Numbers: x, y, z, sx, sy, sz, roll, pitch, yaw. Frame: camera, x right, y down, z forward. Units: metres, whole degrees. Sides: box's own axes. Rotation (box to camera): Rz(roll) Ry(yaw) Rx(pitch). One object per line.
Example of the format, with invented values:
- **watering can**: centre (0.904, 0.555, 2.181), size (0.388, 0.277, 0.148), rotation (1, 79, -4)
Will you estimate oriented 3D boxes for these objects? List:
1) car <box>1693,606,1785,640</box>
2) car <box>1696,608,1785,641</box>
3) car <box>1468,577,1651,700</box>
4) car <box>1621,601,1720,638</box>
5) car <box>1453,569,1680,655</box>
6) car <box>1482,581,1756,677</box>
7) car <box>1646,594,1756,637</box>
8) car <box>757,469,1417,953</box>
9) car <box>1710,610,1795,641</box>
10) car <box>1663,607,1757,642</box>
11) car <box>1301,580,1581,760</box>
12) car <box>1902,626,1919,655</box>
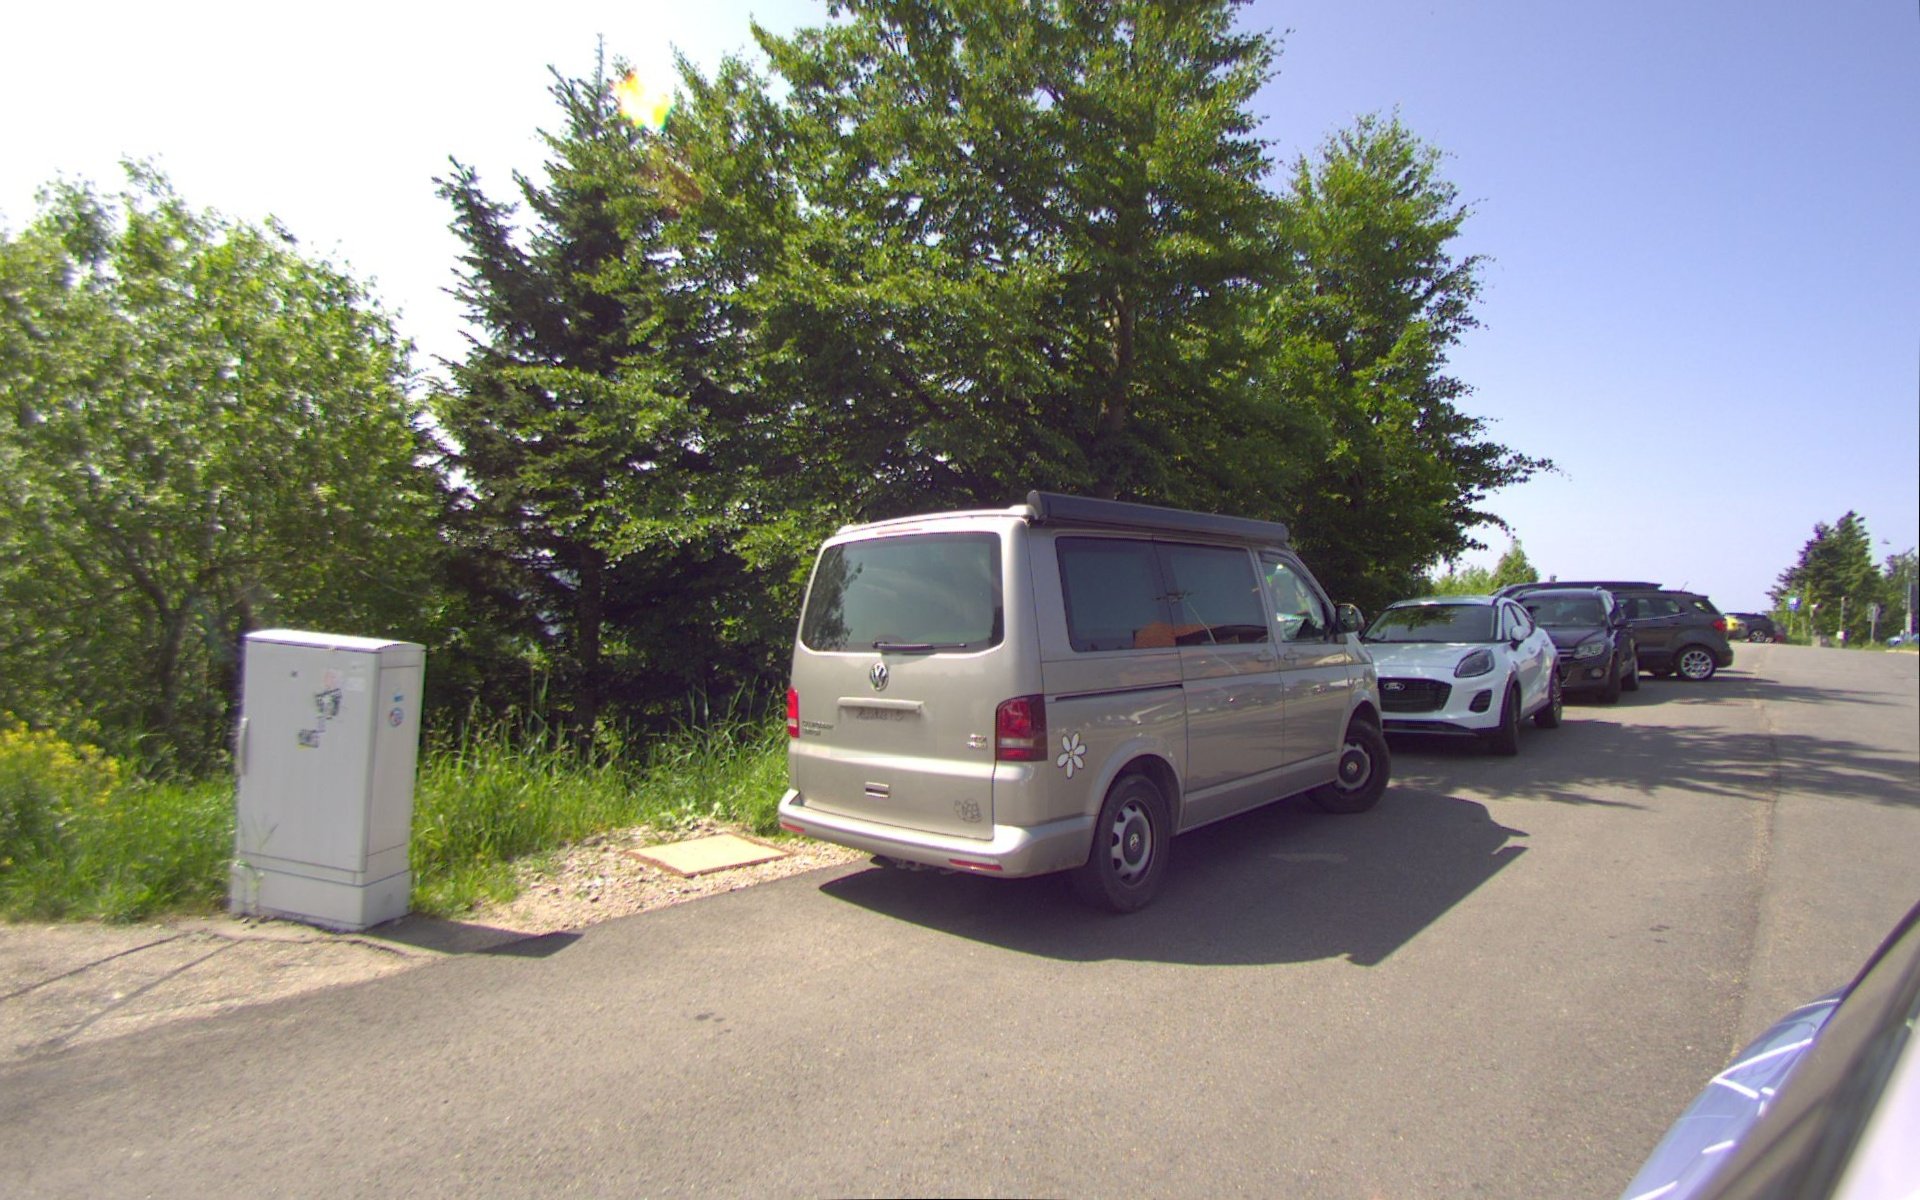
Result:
- **car**: centre (43.578, 1.261, 56.640), size (3.900, 1.634, 1.847), rotation (4, 2, 43)
- **car**: centre (45.209, 1.373, 58.628), size (3.900, 1.634, 1.847), rotation (4, 2, 43)
- **car**: centre (9.361, 0.527, 15.653), size (1.867, 1.639, 3.943), rotation (-1, -1, 39)
- **car**: centre (36.213, 0.949, 51.611), size (3.900, 1.634, 1.847), rotation (4, 2, 43)
- **car**: centre (14.575, 0.313, 24.643), size (4.406, 1.950, 1.863), rotation (-1, -1, 21)
- **car**: centre (12.177, 0.532, 19.044), size (3.951, 1.639, 1.863), rotation (-1, -1, 21)
- **car**: centre (38.731, 0.767, 52.966), size (4.446, 1.949, 1.847), rotation (4, 2, 43)
- **car**: centre (1.131, 0.473, 6.414), size (1.856, 1.960, 4.537), rotation (-2, -2, 43)
- **car**: centre (48.085, 1.524, 61.411), size (3.900, 1.634, 1.847), rotation (4, 2, 43)
- **car**: centre (40.924, 1.282, 55.249), size (3.900, 1.634, 1.847), rotation (4, 2, 43)
- **car**: centre (5.346, 0.629, 10.987), size (1.867, 1.567, 3.943), rotation (-1, -1, 39)
- **car**: centre (56.643, 2.423, 57.836), size (1.843, 1.634, 3.908), rotation (1, 2, -41)
